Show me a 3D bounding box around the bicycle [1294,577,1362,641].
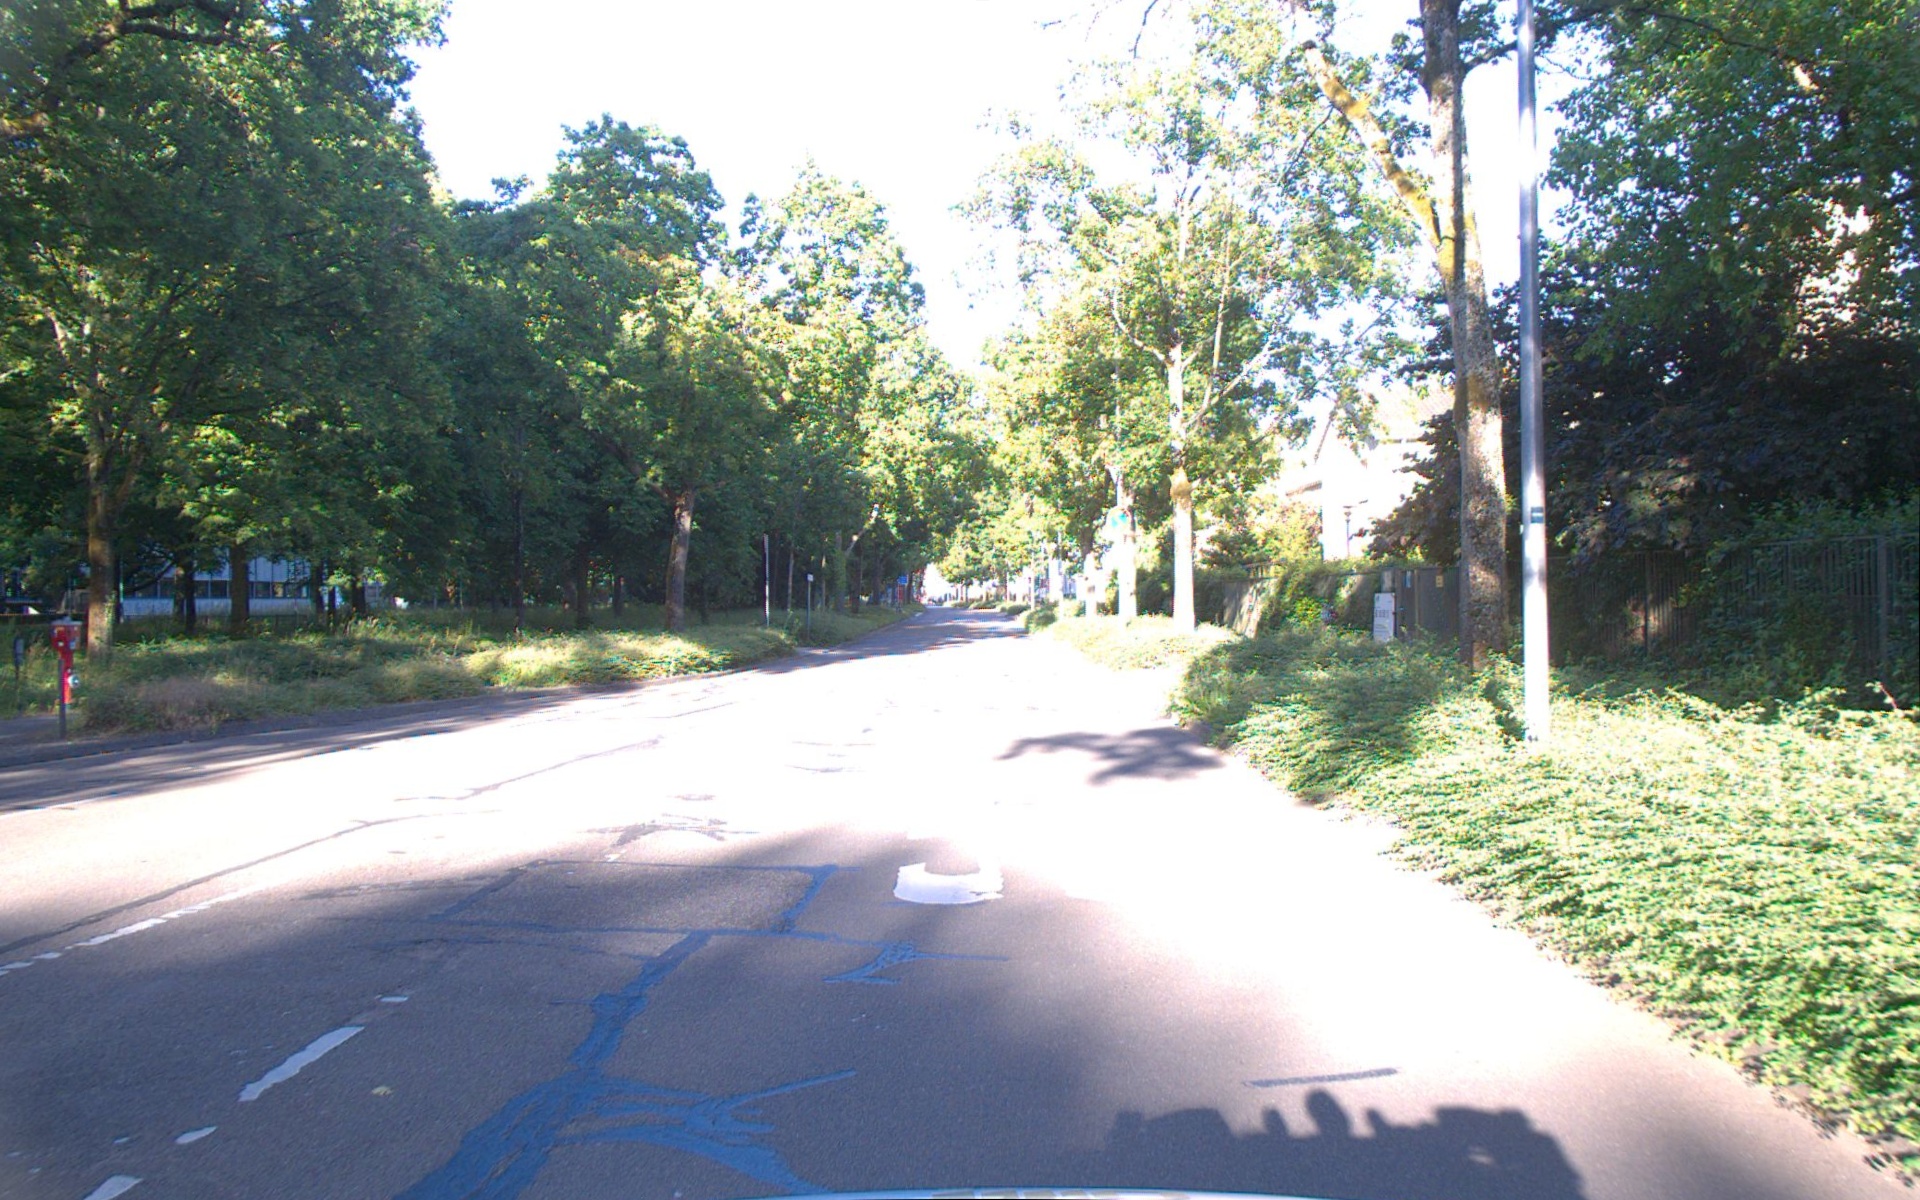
[{"bbox_3d":[7.660,0.170,34.349,0.866,1.221,2.325,-3,0,25],"label":"bicycle"}]

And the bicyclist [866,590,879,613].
[{"bbox_3d":[-6.301,0.107,118.991,0.849,1.669,1.115,0,1,0],"label":"bicyclist"}]

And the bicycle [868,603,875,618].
[{"bbox_3d":[-6.356,0.736,119.073,0.430,0.995,1.661,-1,1,0],"label":"bicycle"}]
